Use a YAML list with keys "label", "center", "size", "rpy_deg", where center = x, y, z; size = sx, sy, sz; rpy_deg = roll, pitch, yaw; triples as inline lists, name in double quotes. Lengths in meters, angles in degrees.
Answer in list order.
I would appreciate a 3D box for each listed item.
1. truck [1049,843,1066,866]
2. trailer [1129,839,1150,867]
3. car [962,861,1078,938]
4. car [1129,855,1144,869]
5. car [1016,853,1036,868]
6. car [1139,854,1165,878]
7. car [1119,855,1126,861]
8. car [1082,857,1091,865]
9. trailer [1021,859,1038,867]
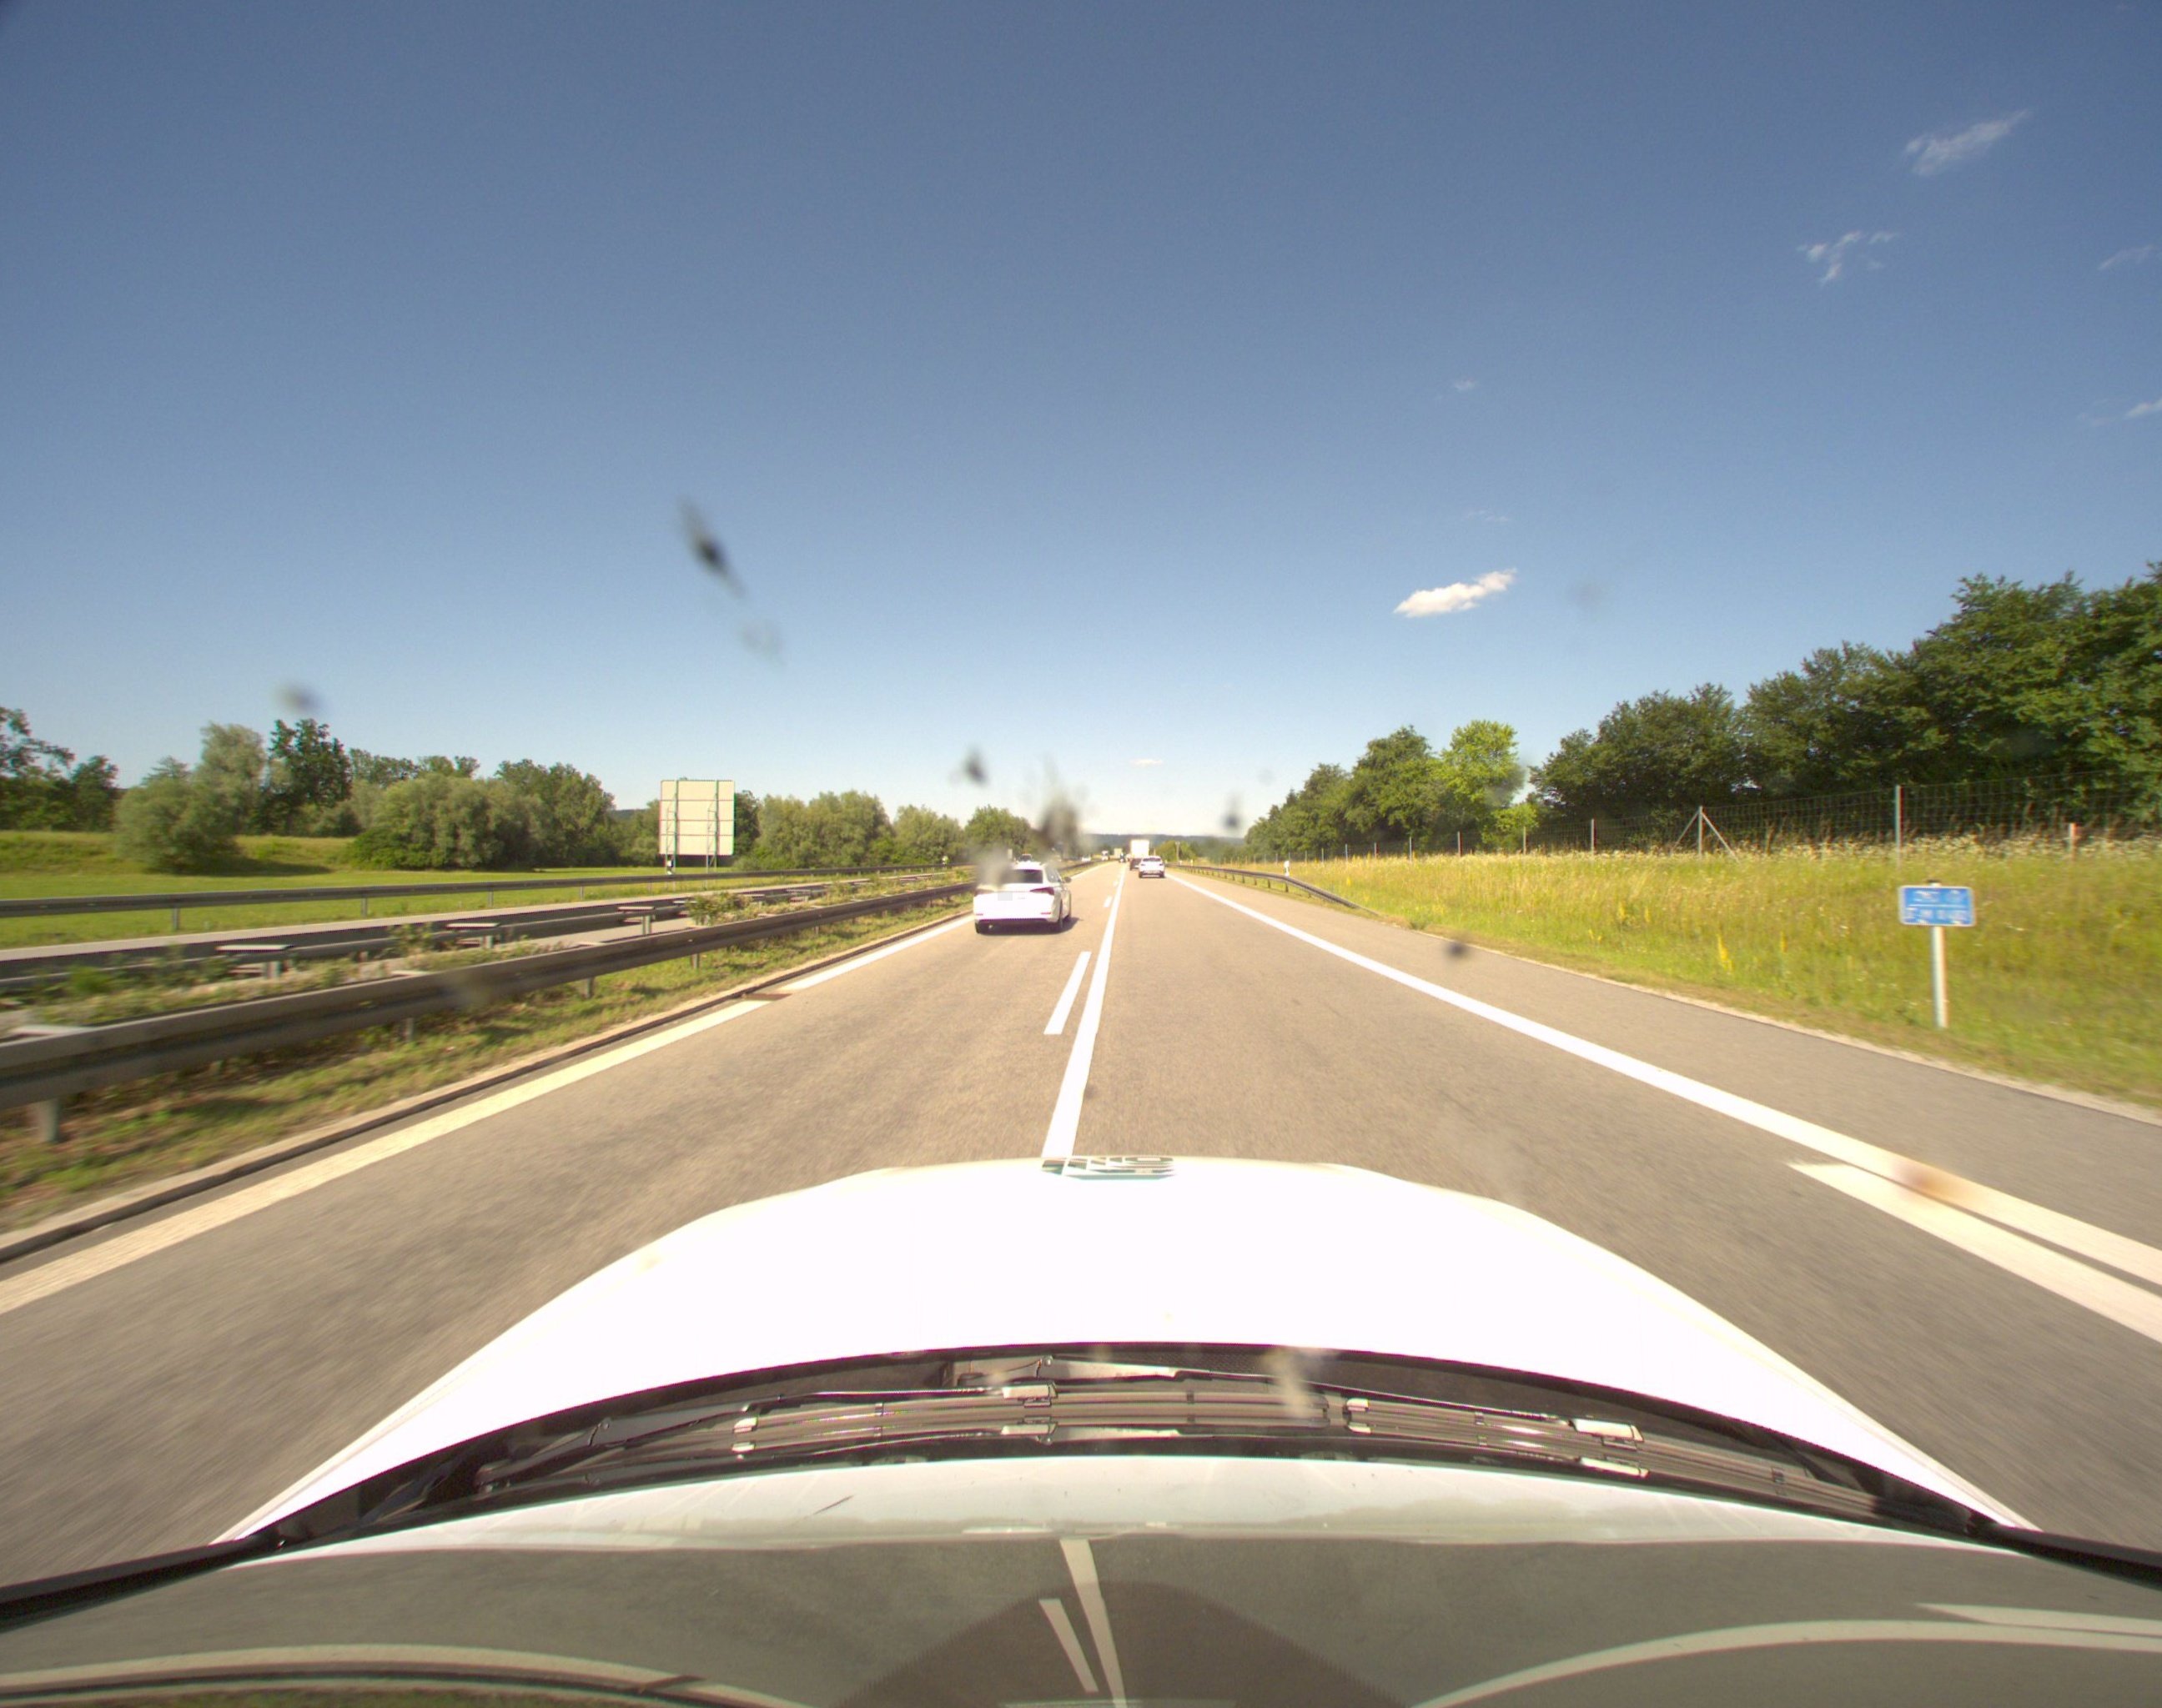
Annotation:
- label: "truck"
  center: [-4.542, 0.099, 156.434]
  size: [2.729, 4.303, 6.338]
  rpy_deg: [-1, 0, 2]
- label: "trailer"
  center: [8.694, -0.091, 120.815]
  size: [2.806, 3.966, 14.176]
  rpy_deg: [0, 0, 4]
- label: "car"
  center: [-1.176, 0.895, 18.149]
  size: [1.832, 1.421, 5.259]
  rpy_deg: [-1, 0, 4]
- label: "car"
  center: [6.243, 0.893, 92.035]
  size: [1.658, 1.454, 4.548]
  rpy_deg: [2, 0, 4]
- label: "car"
  center: [-6.889, 0.775, 101.737]
  size: [1.842, 1.804, 4.875]
  rpy_deg: [-2, -1, 3]
- label: "car"
  center: [5.023, 0.839, 58.041]
  size: [1.677, 1.496, 4.992]
  rpy_deg: [3, 1, 3]
- label: "car"
  center: [10.662, 1.080, 210.186]
  size: [1.764, 1.421, 4.499]
  rpy_deg: [2, 0, 3]
- label: "car"
  center: [1.237, 1.614, 184.303]
  size: [1.985, 1.665, 4.636]
  rpy_deg: [-1, 0, 2]
- label: "trailer"
  center: [-6.649, 1.188, 106.190]
  size: [1.735, 0.936, 4.023]
  rpy_deg: [-1, 0, 3]
